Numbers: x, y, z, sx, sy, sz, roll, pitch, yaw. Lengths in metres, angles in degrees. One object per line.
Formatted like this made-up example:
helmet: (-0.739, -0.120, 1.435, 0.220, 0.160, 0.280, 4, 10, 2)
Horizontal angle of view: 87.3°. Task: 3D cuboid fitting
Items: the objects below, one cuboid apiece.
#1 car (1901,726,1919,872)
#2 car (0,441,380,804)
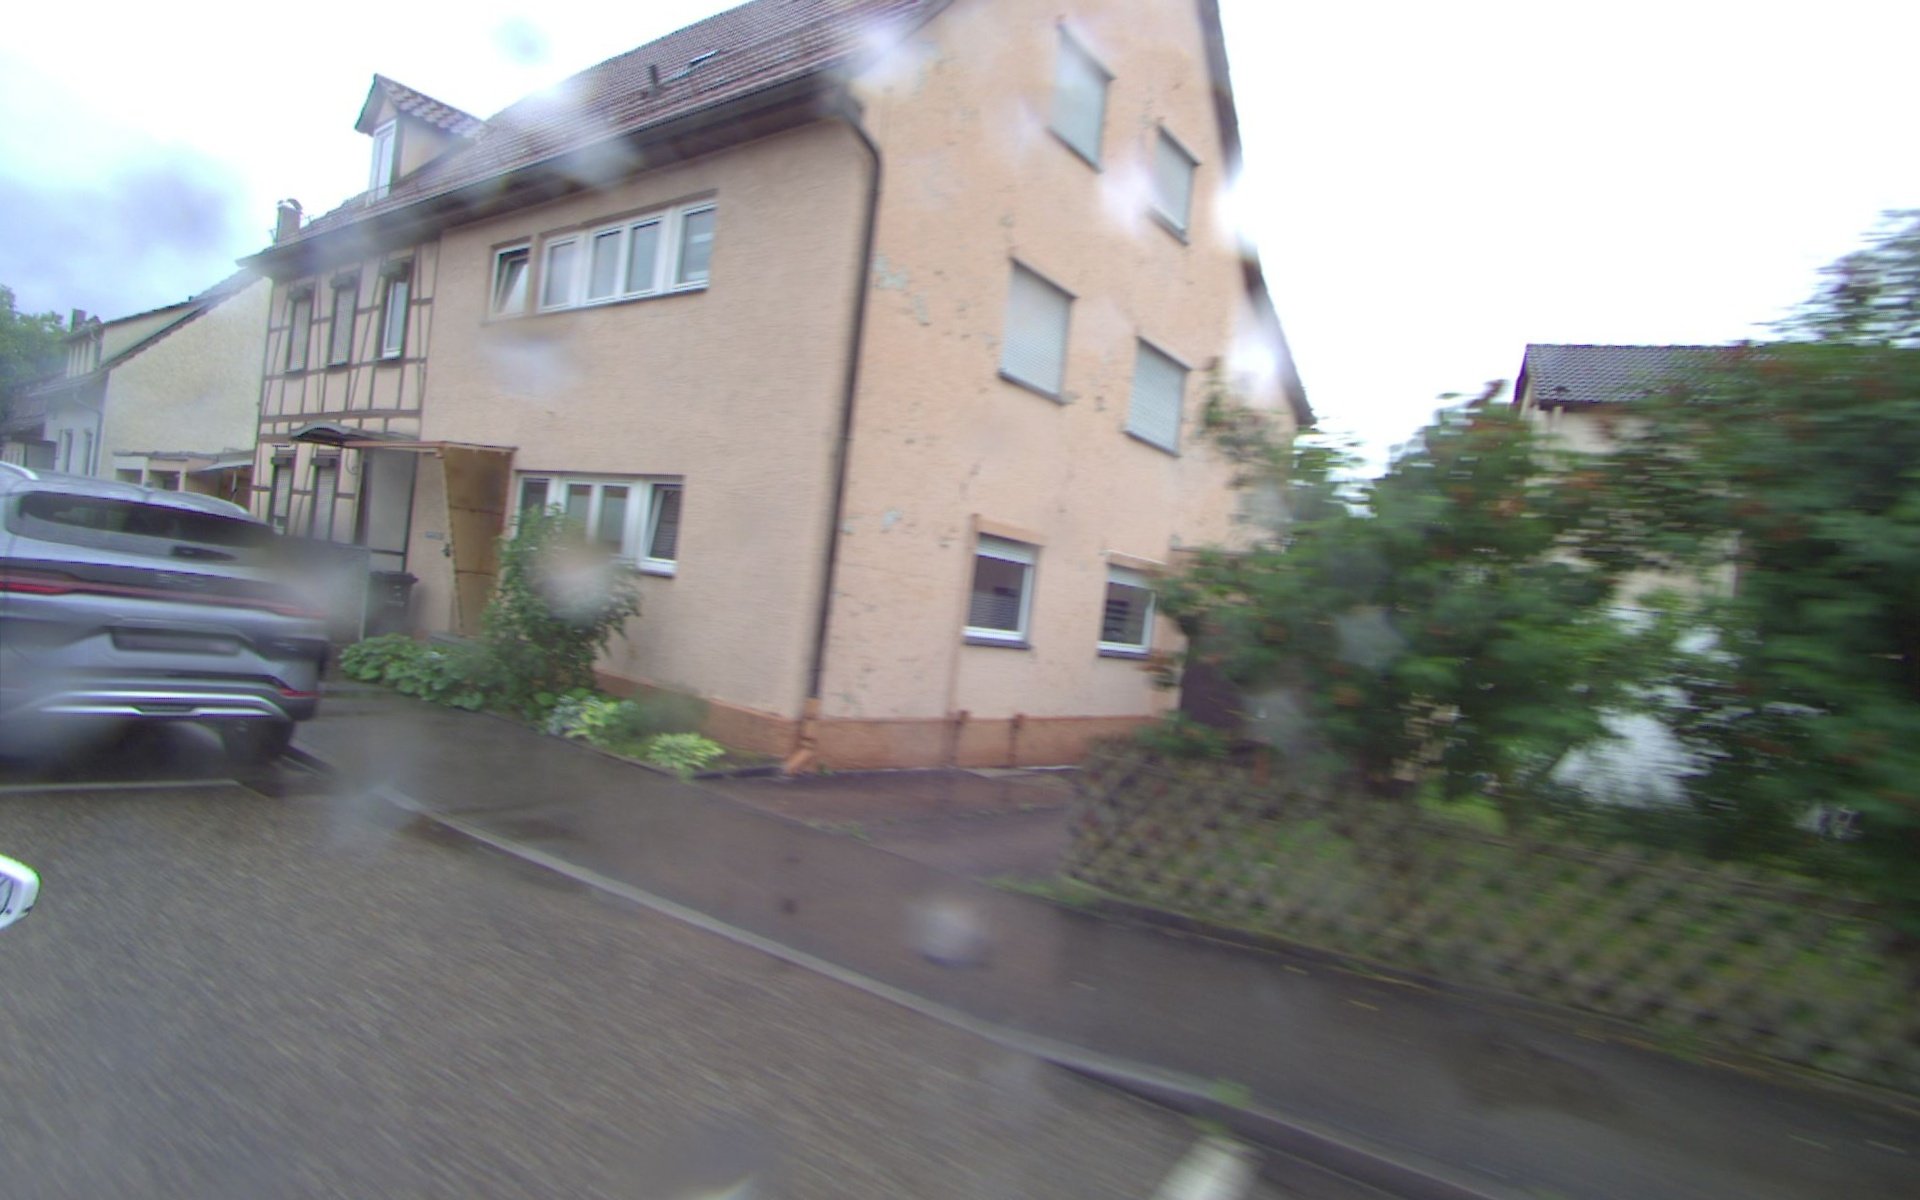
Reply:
car: (14.639, 2.731, 11.511, 5.090, 2.108, 1.952, 8, -1, 22)
car: (-6.014, -0.004, 6.696, 4.485, 1.737, 1.911, 7, -2, 36)
